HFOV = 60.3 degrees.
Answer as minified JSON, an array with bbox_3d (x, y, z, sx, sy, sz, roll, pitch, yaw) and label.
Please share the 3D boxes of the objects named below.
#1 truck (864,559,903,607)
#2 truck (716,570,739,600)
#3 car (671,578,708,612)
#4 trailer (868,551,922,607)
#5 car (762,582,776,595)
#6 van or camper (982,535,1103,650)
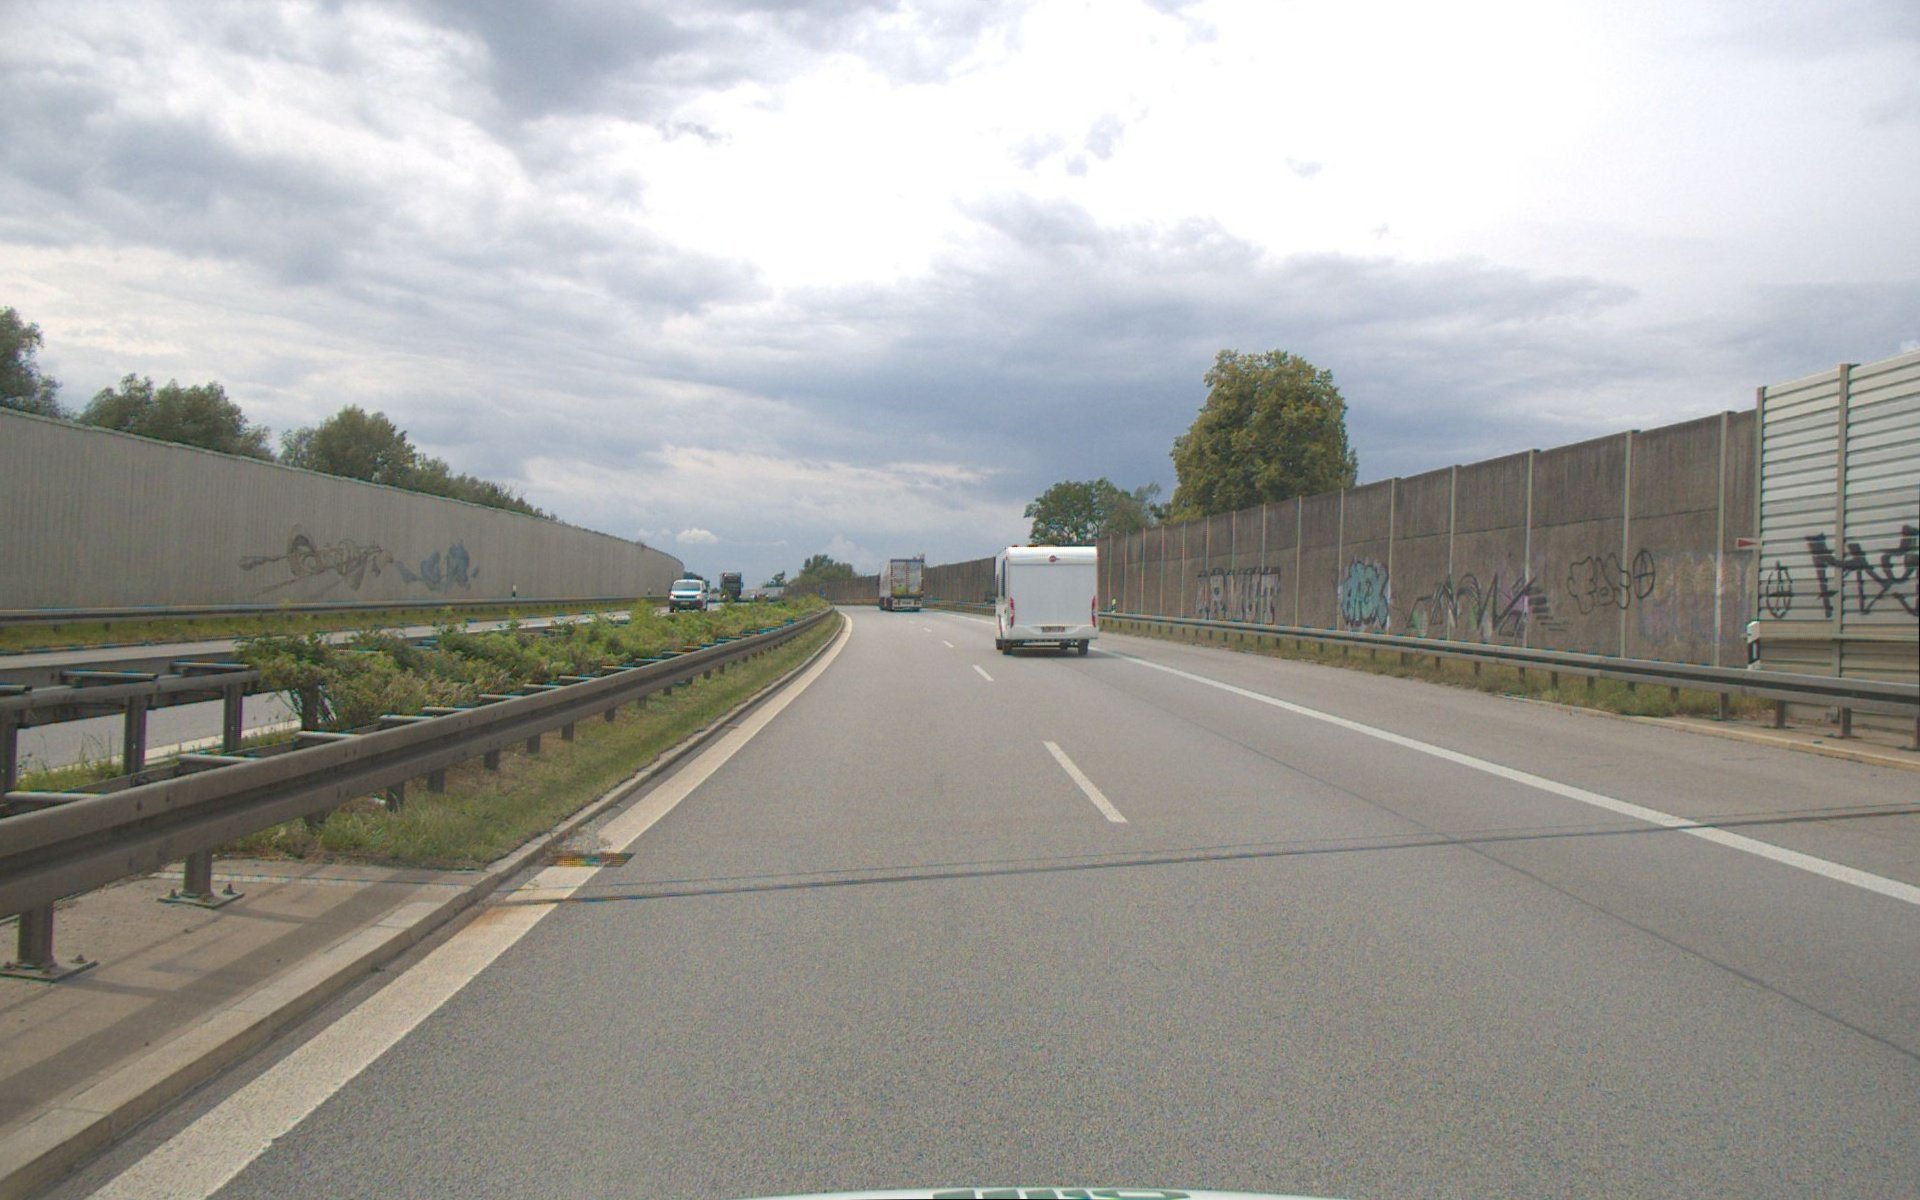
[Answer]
[{"bbox_3d":[-6.554,-1.432,141.537,2.706,4.029,5.664,0,-1,-10],"label":"truck"},{"bbox_3d":[-31.373,-1.988,223.579,2.818,3.926,6.066,-1,0,-6],"label":"truck"},{"bbox_3d":[-14.783,-0.281,90.558,1.708,1.775,4.621,0,0,-6],"label":"car"},{"bbox_3d":[-5.410,-1.608,134.879,2.741,4.248,14.071,0,0,-9],"label":"trailer"},{"bbox_3d":[-24.788,-1.477,214.133,1.683,1.670,4.696,0,0,-8],"label":"car"},{"bbox_3d":[2.045,-0.204,43.510,2.381,2.744,7.220,1,0,-3],"label":"van or camper"}]
